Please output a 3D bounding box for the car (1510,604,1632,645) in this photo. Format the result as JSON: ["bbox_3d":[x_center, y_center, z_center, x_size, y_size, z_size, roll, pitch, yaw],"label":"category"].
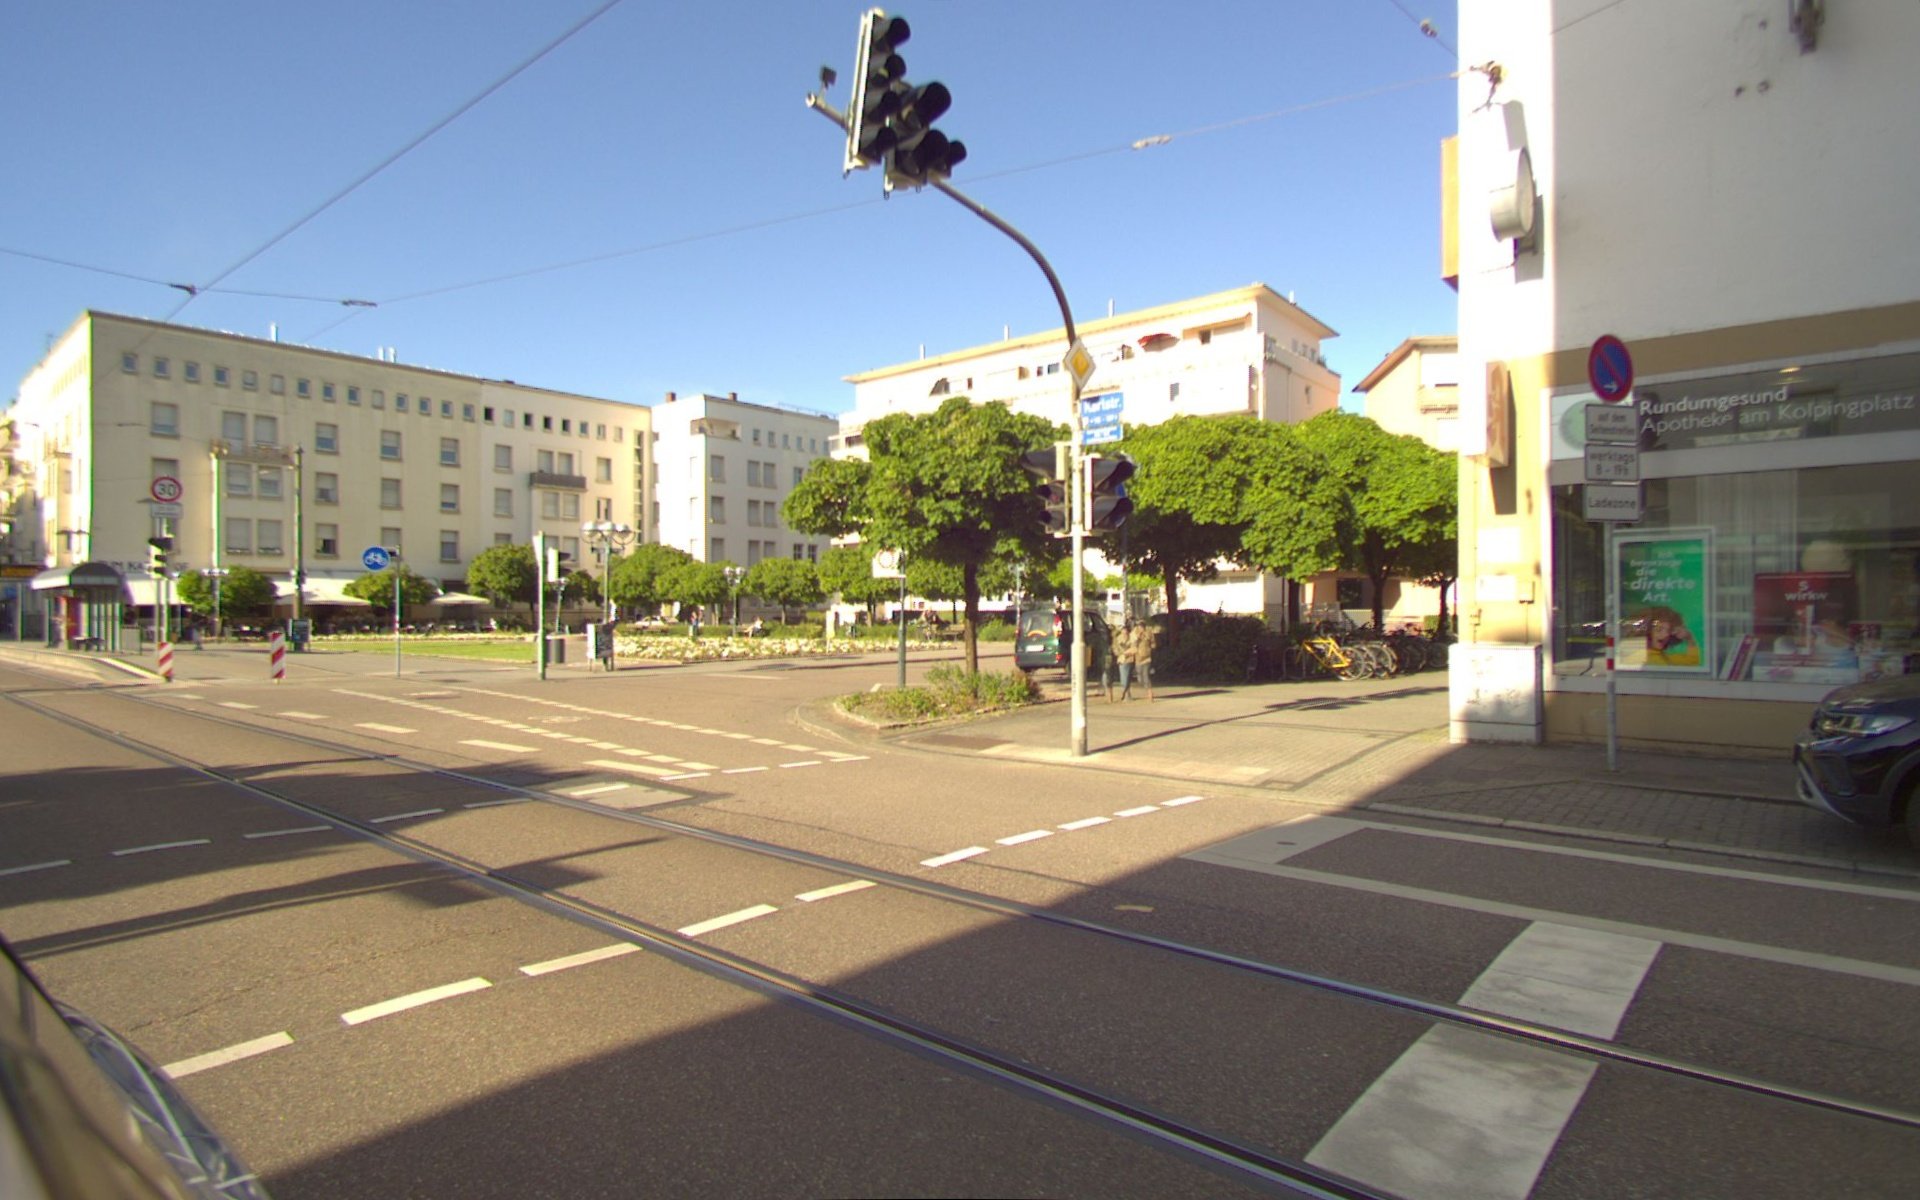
[{"bbox_3d":[24.959,0.985,41.358,4.295,1.597,1.797,0,-1,-16],"label":"car"}]

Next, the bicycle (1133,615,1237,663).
[{"bbox_3d":[5.486,0.940,24.692,2.398,1.133,0.629,0,-1,-10],"label":"bicycle"}]

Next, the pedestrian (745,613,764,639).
[{"bbox_3d":[-11.319,1.412,55.743,0.667,1.428,0.828,-1,-1,39],"label":"pedestrian"}]

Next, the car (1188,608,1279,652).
[{"bbox_3d":[9.804,1.030,36.083,1.621,1.460,3.939,-1,-1,40],"label":"car"}]

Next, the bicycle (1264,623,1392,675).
[{"bbox_3d":[7.589,0.986,20.987,2.436,0.995,0.620,-1,-1,41],"label":"bicycle"}]

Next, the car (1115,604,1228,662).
[{"bbox_3d":[6.537,0.956,30.993,1.757,1.628,3.939,-1,-1,40],"label":"car"}]

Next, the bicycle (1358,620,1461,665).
[{"bbox_3d":[11.047,1.016,24.904,2.226,1.057,0.620,-1,-1,37],"label":"bicycle"}]

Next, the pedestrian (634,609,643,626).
[{"bbox_3d":[-23.287,1.238,73.341,0.499,1.231,0.396,0,-1,-43],"label":"pedestrian"}]

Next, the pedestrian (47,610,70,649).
[{"bbox_3d":[-35.615,1.151,39.975,0.609,1.501,0.545,-1,-1,34],"label":"pedestrian"}]

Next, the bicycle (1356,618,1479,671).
[{"bbox_3d":[10.215,0.976,22.672,2.433,1.133,0.620,-1,-1,37],"label":"bicycle"}]

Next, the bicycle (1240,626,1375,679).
[{"bbox_3d":[6.996,1.031,20.469,2.492,0.995,0.745,-1,-1,41],"label":"bicycle"}]

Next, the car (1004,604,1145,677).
[{"bbox_3d":[3.027,0.988,26.158,1.676,1.723,3.938,-1,-1,41],"label":"car"}]

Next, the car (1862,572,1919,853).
[{"bbox_3d":[7.314,0.601,5.188,3.991,1.564,1.764,-1,1,42],"label":"car"}]

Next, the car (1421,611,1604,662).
[{"bbox_3d":[14.617,0.931,26.877,3.998,1.240,1.714,-1,-1,41],"label":"car"}]

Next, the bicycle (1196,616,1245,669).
[{"bbox_3d":[5.929,0.939,23.138,0.620,1.133,2.434,-1,0,4],"label":"bicycle"}]

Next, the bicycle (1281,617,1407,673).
[{"bbox_3d":[8.120,0.929,21.513,2.436,1.133,0.620,-1,-1,41],"label":"bicycle"}]

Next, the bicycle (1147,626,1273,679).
[{"bbox_3d":[5.134,1.052,20.923,2.493,0.995,0.745,-1,-1,42],"label":"bicycle"}]

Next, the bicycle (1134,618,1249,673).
[{"bbox_3d":[4.997,0.954,22.015,2.436,1.133,0.620,-1,-1,41],"label":"bicycle"}]

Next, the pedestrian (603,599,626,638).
[{"bbox_3d":[-15.311,0.821,44.877,0.826,1.708,0.668,0,-1,-4],"label":"pedestrian"}]
